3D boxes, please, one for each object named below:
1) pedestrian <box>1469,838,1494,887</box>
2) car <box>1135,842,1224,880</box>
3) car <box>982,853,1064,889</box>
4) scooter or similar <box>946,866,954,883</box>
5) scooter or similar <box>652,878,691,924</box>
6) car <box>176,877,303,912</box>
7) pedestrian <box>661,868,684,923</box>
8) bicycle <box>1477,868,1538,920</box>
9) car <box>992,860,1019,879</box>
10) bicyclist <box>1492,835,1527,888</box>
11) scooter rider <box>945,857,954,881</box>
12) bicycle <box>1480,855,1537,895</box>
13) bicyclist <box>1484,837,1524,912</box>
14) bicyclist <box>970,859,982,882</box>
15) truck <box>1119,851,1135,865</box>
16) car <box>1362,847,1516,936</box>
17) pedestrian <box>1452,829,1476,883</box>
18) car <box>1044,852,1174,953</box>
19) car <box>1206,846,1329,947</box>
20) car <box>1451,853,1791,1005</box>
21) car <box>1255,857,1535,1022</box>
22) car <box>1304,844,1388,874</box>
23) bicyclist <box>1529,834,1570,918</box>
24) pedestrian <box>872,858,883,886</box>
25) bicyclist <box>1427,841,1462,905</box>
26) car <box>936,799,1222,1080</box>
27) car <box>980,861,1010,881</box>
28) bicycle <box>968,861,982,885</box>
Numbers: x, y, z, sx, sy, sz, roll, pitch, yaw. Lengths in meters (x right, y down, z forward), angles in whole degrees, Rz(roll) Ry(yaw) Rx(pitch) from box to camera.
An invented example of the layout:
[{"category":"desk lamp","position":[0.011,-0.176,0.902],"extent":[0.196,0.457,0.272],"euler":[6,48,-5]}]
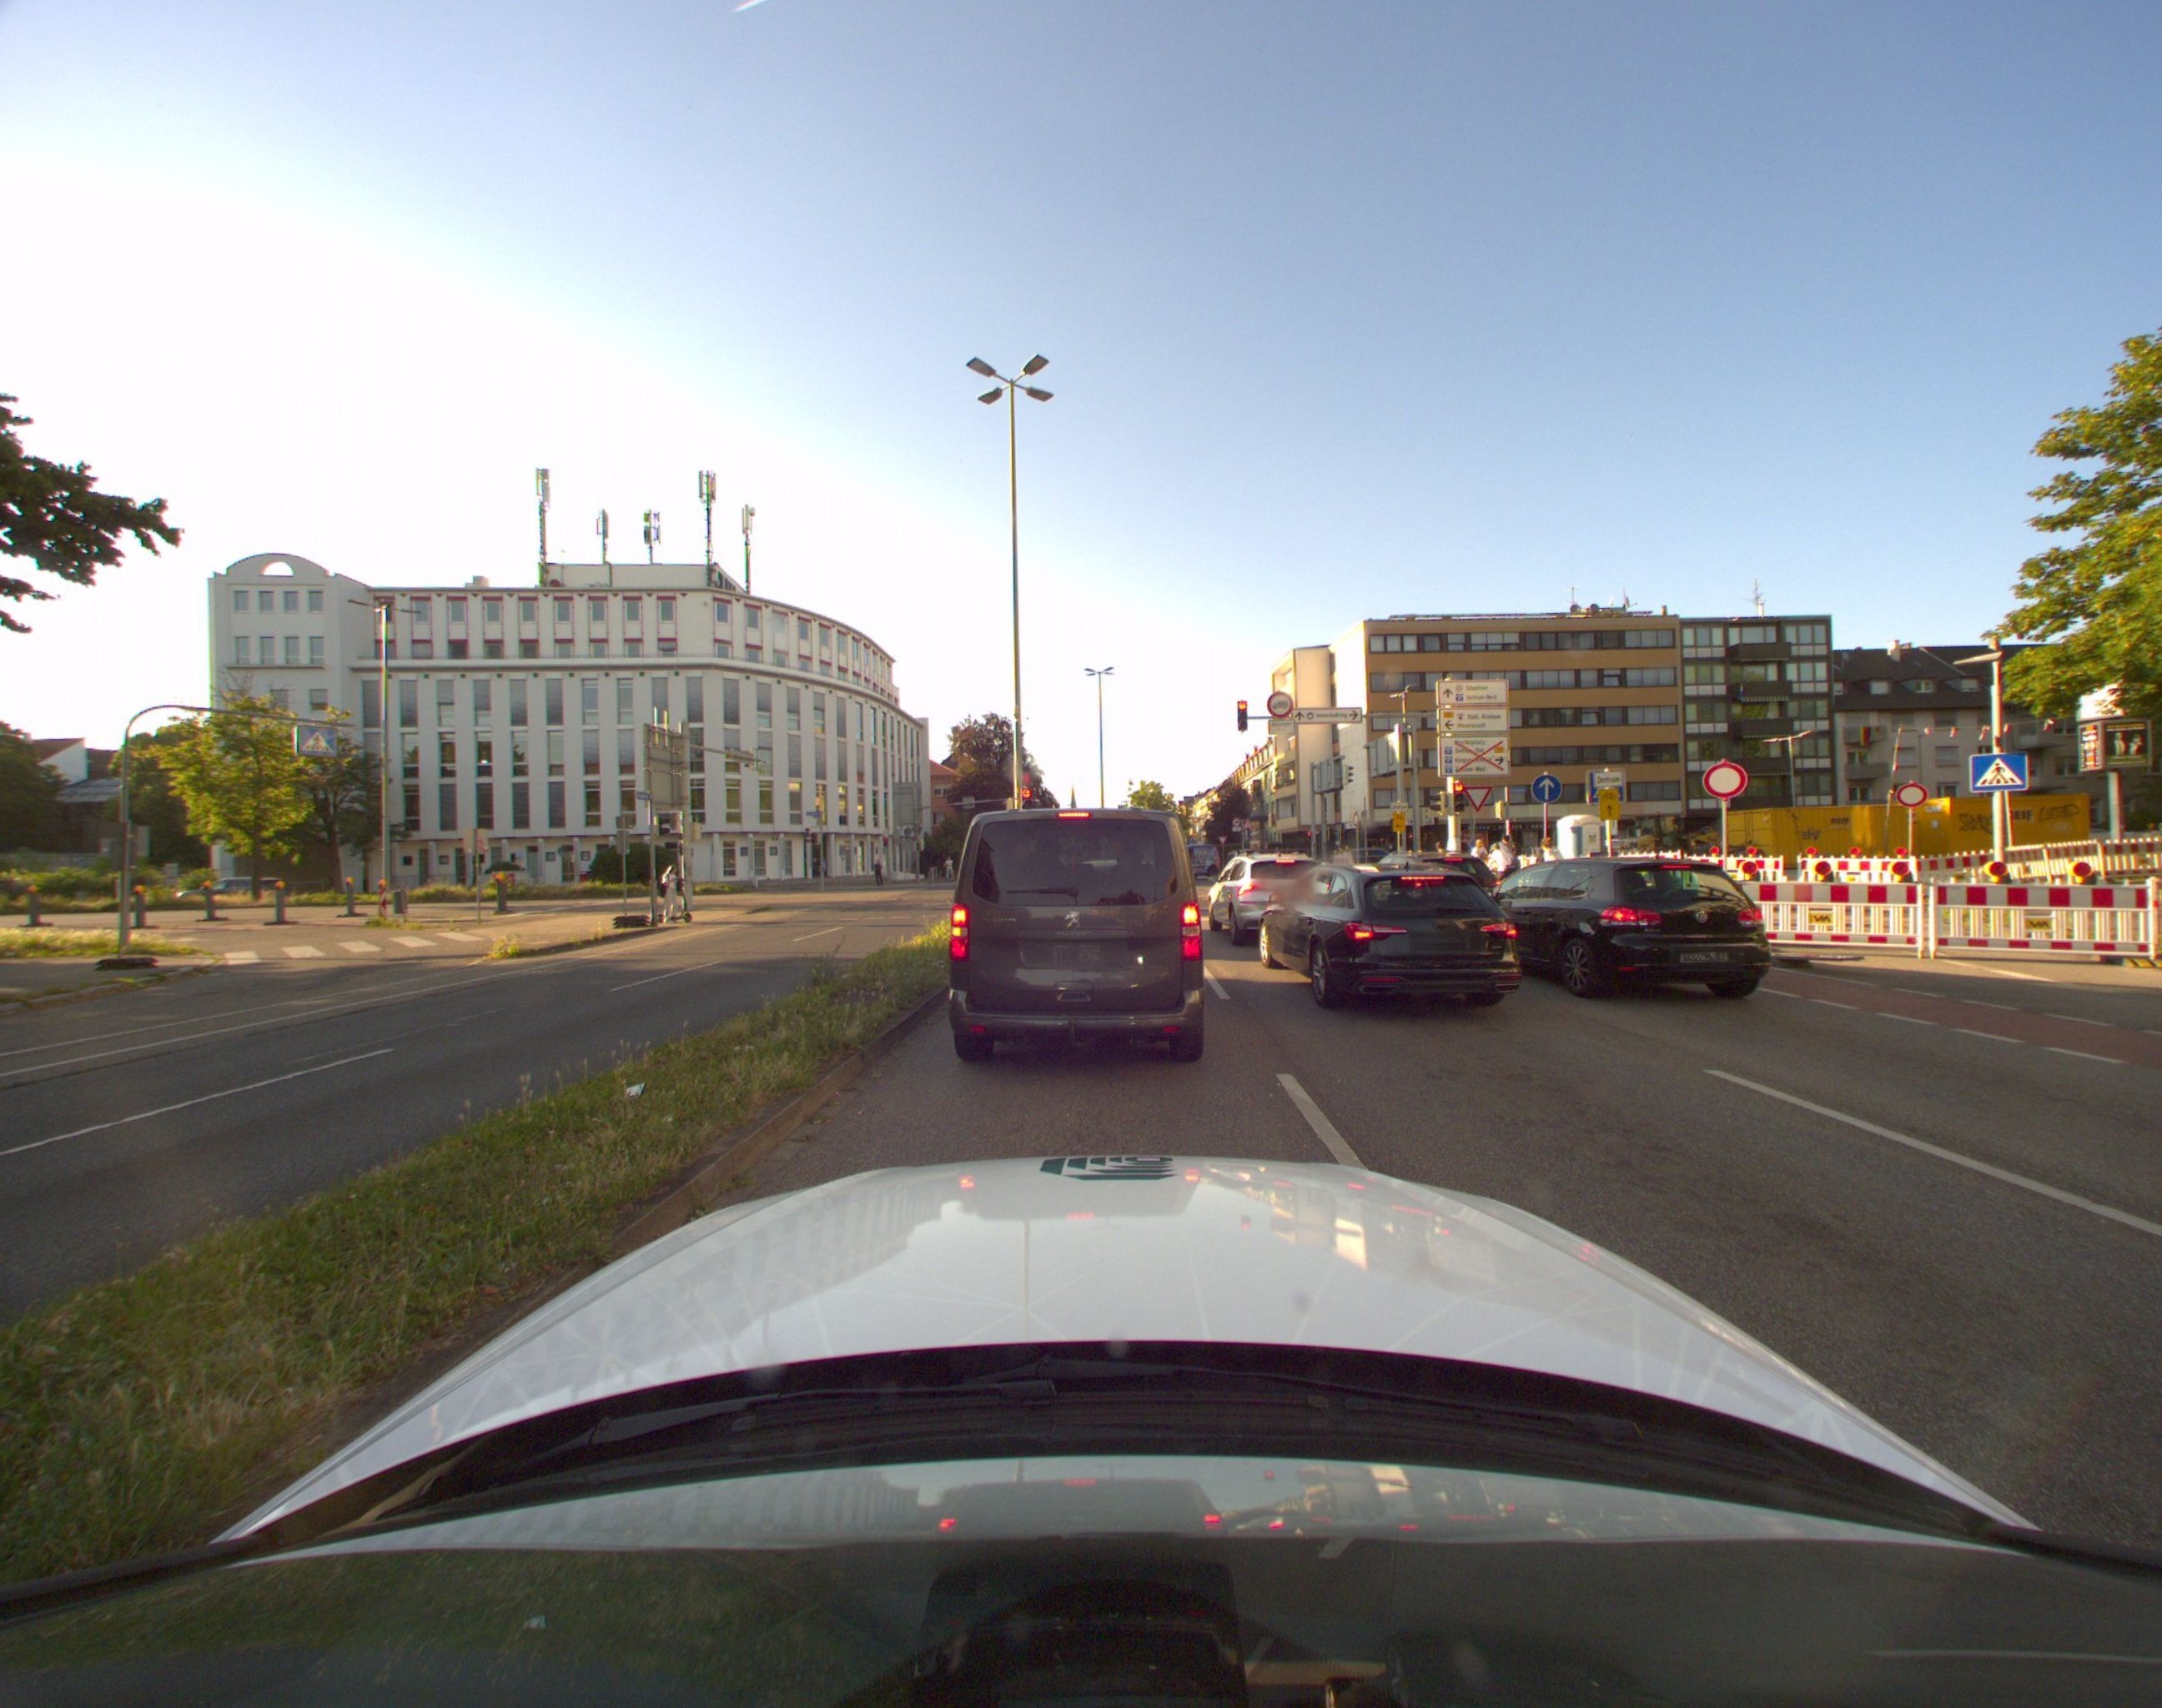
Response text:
[{"category":"pedestrian","position":[13.831,0.288,28.120],"extent":[0.599,1.671,0.455],"euler":[-2,0,3]},{"category":"car","position":[5.163,0.337,42.552],"extent":[4.245,1.817,1.980],"euler":[-2,0,-32]},{"category":"car","position":[-2.504,0.737,35.990],"extent":[1.675,1.387,3.710],"euler":[-3,0,31]},{"category":"scooter or similar","position":[-9.458,1.455,58.799],"extent":[0.284,1.189,1.169],"euler":[-2,0,2]},{"category":"scooter or similar","position":[-11.460,1.304,22.804],"extent":[0.893,1.234,0.370],"euler":[-2,0,-10]},{"category":"car","position":[-42.446,2.008,41.166],"extent":[4.330,1.549,1.785],"euler":[-2,0,-4]},{"category":"pedestrian","position":[-11.530,1.167,22.987],"extent":[0.474,1.505,0.334],"euler":[-2,0,-10]},{"category":"bicycle","position":[8.915,0.808,17.104],"extent":[0.335,1.008,1.856],"euler":[-2,0,2]},{"category":"car","position":[-6.305,1.264,68.313],"extent":[1.850,1.420,4.000],"euler":[-2,0,0]},{"category":"bicyclist","position":[13.065,0.214,24.846],"extent":[0.804,1.589,0.623],"euler":[0,1,43]},{"category":"scooter rider","position":[-9.461,1.101,58.803],"extent":[0.479,1.697,0.636],"euler":[-2,0,1]},{"category":"bicycle","position":[13.037,0.626,24.851],"extent":[1.481,1.161,0.376],"euler":[0,1,43]},{"category":"bicyclist","position":[8.914,0.423,17.188],"extent":[0.439,1.525,0.725],"euler":[-2,0,2]},{"category":"bicyclist","position":[-9.196,1.468,71.119],"extent":[0.830,2.014,1.065],"euler":[0,-1,3]},{"category":"truck","position":[7.397,0.671,129.672],"extent":[2.116,2.087,4.641],"euler":[-2,0,8]},{"category":"car","position":[6.580,0.637,15.342],"extent":[1.499,1.449,3.306],"euler":[-2,0,2]},{"category":"pedestrian","position":[13.208,0.083,28.090],"extent":[0.567,1.834,0.488],"euler":[-2,0,4]},{"category":"car","position":[0.506,0.761,14.738],"extent":[1.986,1.530,4.002],"euler":[-2,0,2]},{"category":"car","position":[3.287,0.690,14.981],"extent":[1.523,1.613,3.746],"euler":[0,0,2]},{"category":"car","position":[5.997,0.717,9.640],"extent":[1.627,1.449,3.746],"euler":[0,0,2]},{"category":"car","position":[3.203,0.759,9.249],"extent":[1.675,1.421,4.215],"euler":[0,0,2]},{"category":"car","position":[14.510,0.255,44.617],"extent":[4.243,1.441,1.691],"euler":[-2,0,-21]},{"category":"bicyclist","position":[8.646,0.399,15.035],"extent":[0.439,1.525,0.482],"euler":[-2,0,1]},{"category":"pedestrian","position":[-12.817,1.148,51.371],"extent":[0.626,1.722,0.668],"euler":[-2,0,-12]},{"category":"bicyclist","position":[8.980,0.457,20.124],"extent":[0.511,1.525,0.725],"euler":[-2,0,1]},{"category":"car","position":[0.056,0.574,7.688],"extent":[1.900,1.863,4.528],"euler":[0,0,2]},{"category":"car","position":[-6.597,1.278,62.817],"extent":[1.850,1.420,4.000],"euler":[-2,0,0]},{"category":"bicycle","position":[-9.208,1.632,70.953],"extent":[0.712,2.013,2.564],"euler":[-2,0,2]}]
